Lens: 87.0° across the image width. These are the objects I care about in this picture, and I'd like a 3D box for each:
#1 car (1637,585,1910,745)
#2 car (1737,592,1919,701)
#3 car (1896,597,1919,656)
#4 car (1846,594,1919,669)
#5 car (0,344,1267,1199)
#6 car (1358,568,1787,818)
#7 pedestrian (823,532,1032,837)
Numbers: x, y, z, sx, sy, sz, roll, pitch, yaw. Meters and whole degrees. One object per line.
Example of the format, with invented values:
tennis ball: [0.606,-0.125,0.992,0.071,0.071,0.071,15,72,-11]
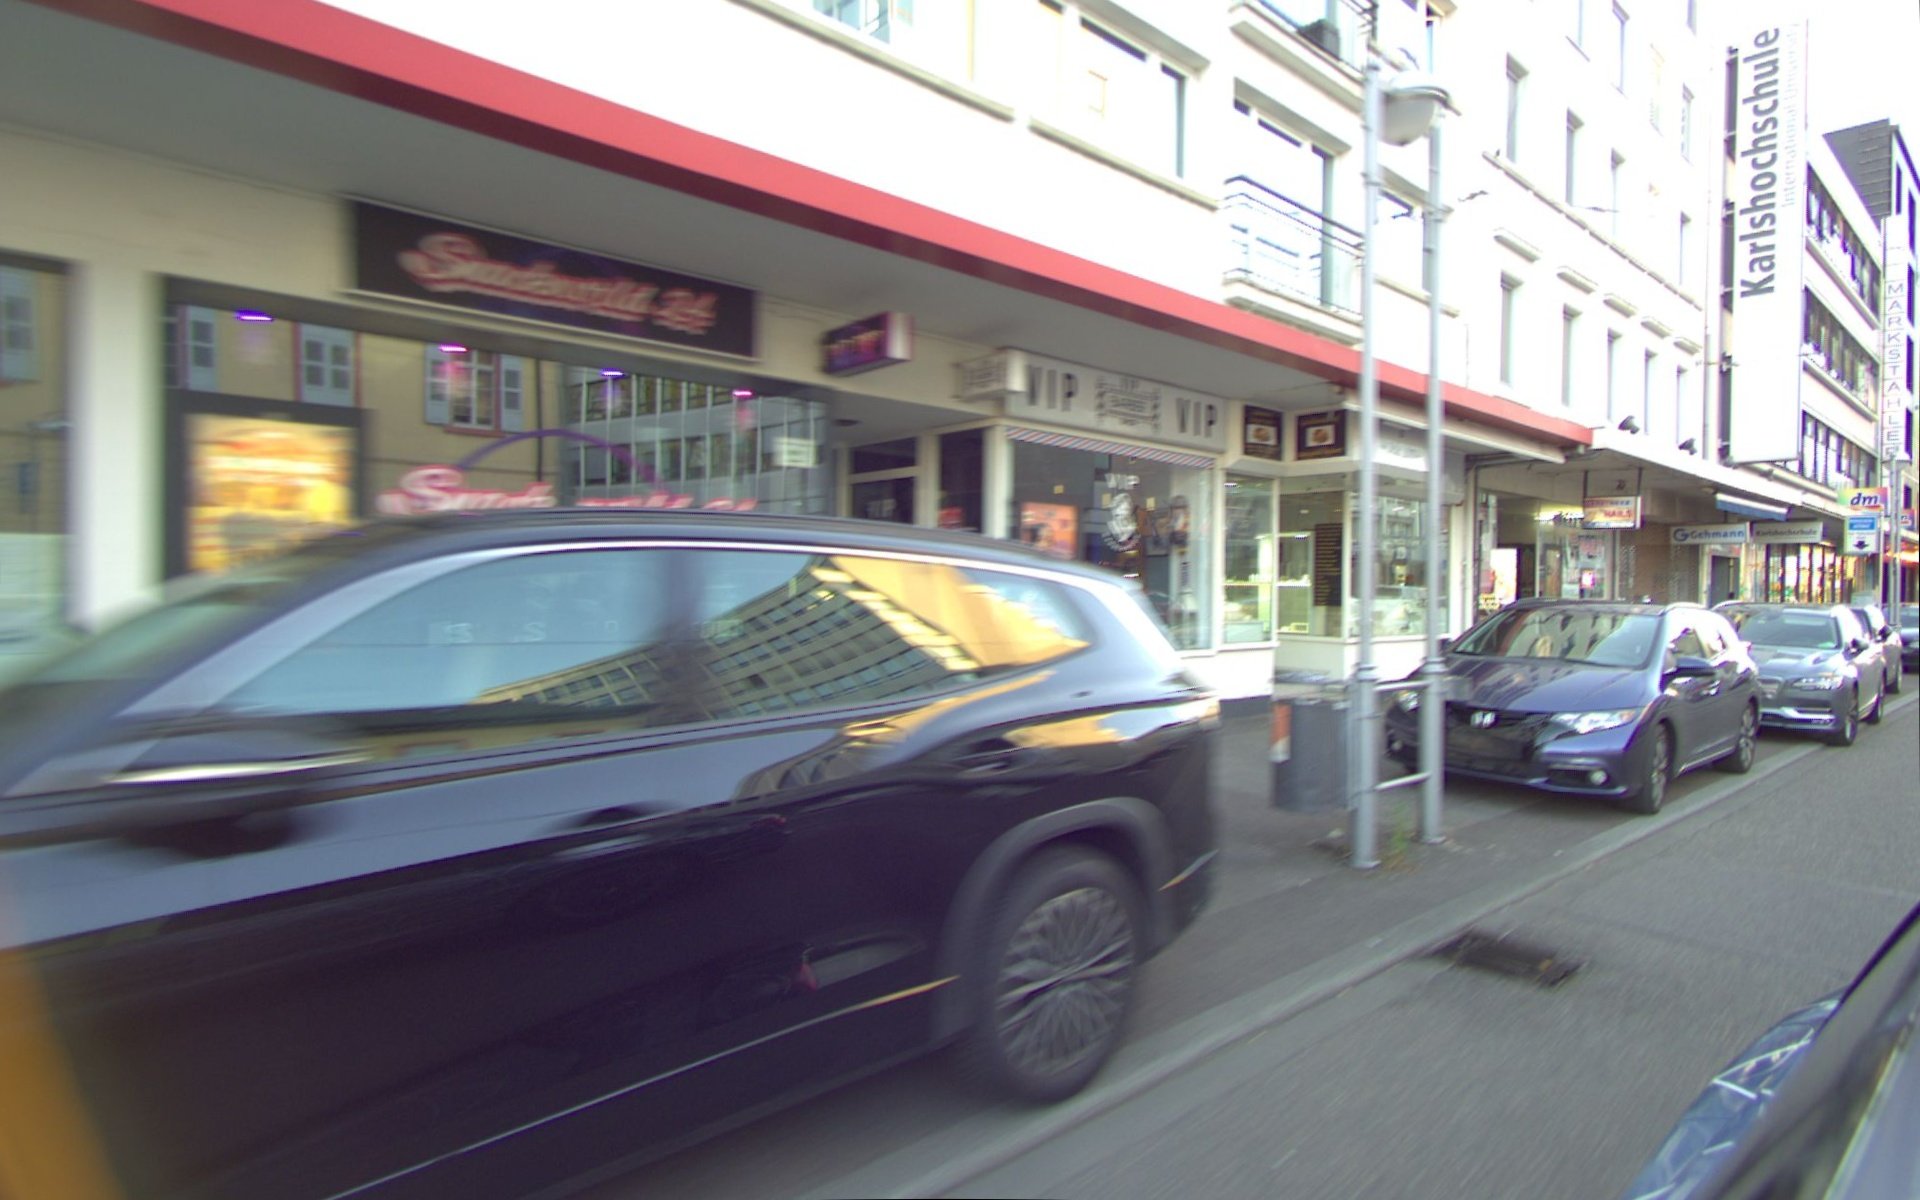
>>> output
car: [9.849,0.618,12.094,4.774,1.552,1.794,-1,0,-42]
car: [13.850,0.639,15.996,3.930,1.500,1.729,0,0,-41]
car: [26.270,0.662,26.857,3.952,1.481,1.657,0,0,-41]
car: [21.004,0.641,22.233,4.001,1.533,1.768,0,0,-41]
car: [-1.200,0.514,2.698,4.341,1.722,1.858,0,0,-42]
car: [5.190,0.588,8.330,4.280,1.542,1.784,0,-1,-41]
pedestrian: [-0.184,0.437,5.877,0.950,1.593,0.734,1,0,-41]
